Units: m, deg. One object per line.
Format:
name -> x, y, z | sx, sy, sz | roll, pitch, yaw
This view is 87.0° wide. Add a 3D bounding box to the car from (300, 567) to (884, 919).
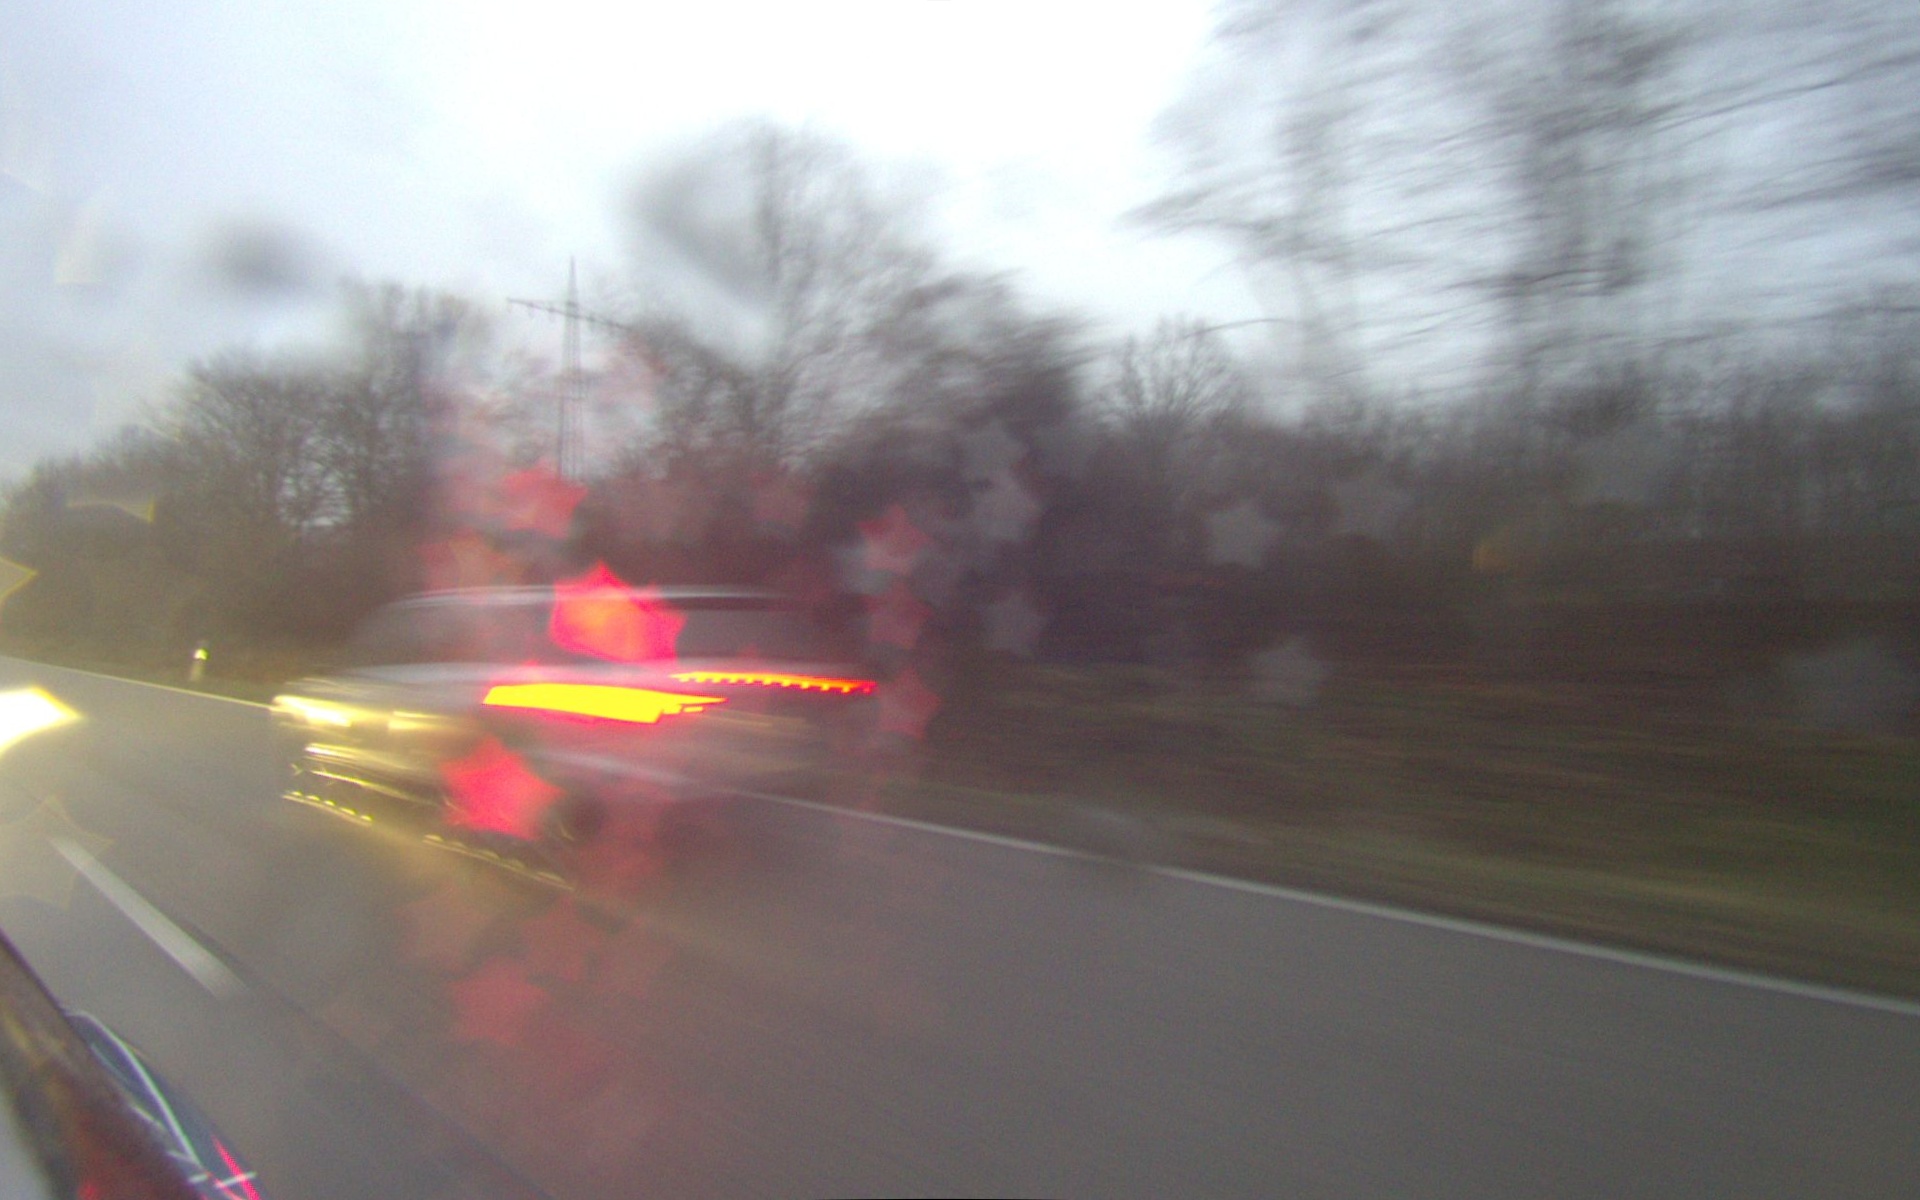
car -> -2.645, 0.700, 6.738 | 4.193, 1.619, 1.853 | -2, -1, 41
